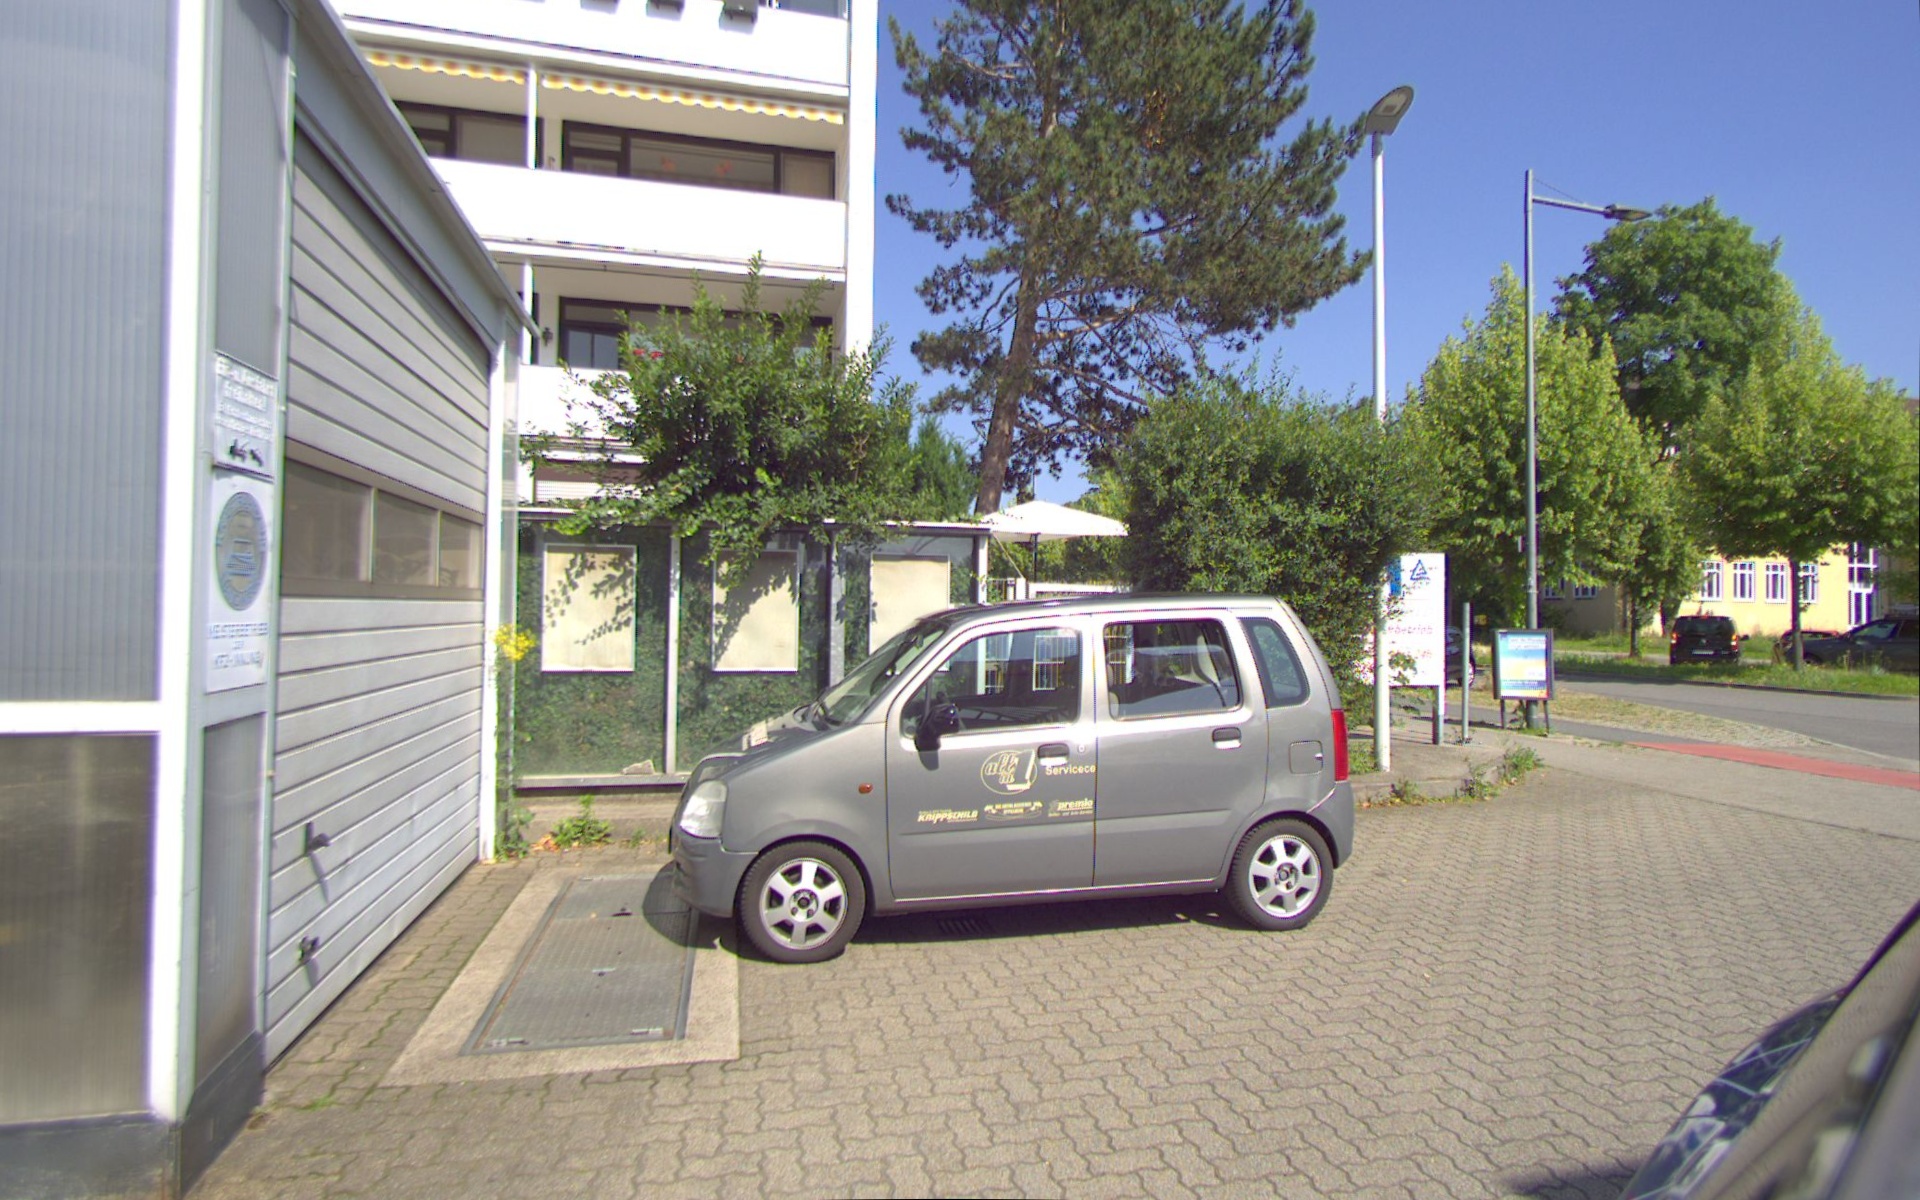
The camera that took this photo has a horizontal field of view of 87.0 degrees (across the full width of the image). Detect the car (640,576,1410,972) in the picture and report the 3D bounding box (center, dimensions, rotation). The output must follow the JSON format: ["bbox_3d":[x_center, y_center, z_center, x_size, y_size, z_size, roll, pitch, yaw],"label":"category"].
[{"bbox_3d":[0.254,0.727,5.427,3.586,1.638,1.695,-1,-1,-11],"label":"car"}]

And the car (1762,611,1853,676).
[{"bbox_3d":[25.304,1.300,30.339,1.871,1.744,4.167,2,-1,38],"label":"car"}]

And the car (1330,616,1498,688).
[{"bbox_3d":[10.424,1.182,23.110,4.150,1.435,1.879,3,-2,-40],"label":"car"}]

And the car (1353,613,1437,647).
[{"bbox_3d":[20.810,1.439,48.387,3.652,1.408,1.883,3,-1,-32],"label":"car"}]

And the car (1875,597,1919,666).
[{"bbox_3d":[26.281,0.896,27.369,4.153,1.744,1.878,3,-1,-43],"label":"car"}]

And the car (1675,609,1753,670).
[{"bbox_3d":[24.090,1.262,32.334,1.871,1.744,4.167,2,-1,38],"label":"car"}]

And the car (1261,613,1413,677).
[{"bbox_3d":[9.813,1.166,26.190,4.150,1.500,1.879,3,-1,-40],"label":"car"}]

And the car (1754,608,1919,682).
[{"bbox_3d":[21.863,1.055,23.258,1.958,1.632,5.669,3,-1,-14],"label":"car"}]
